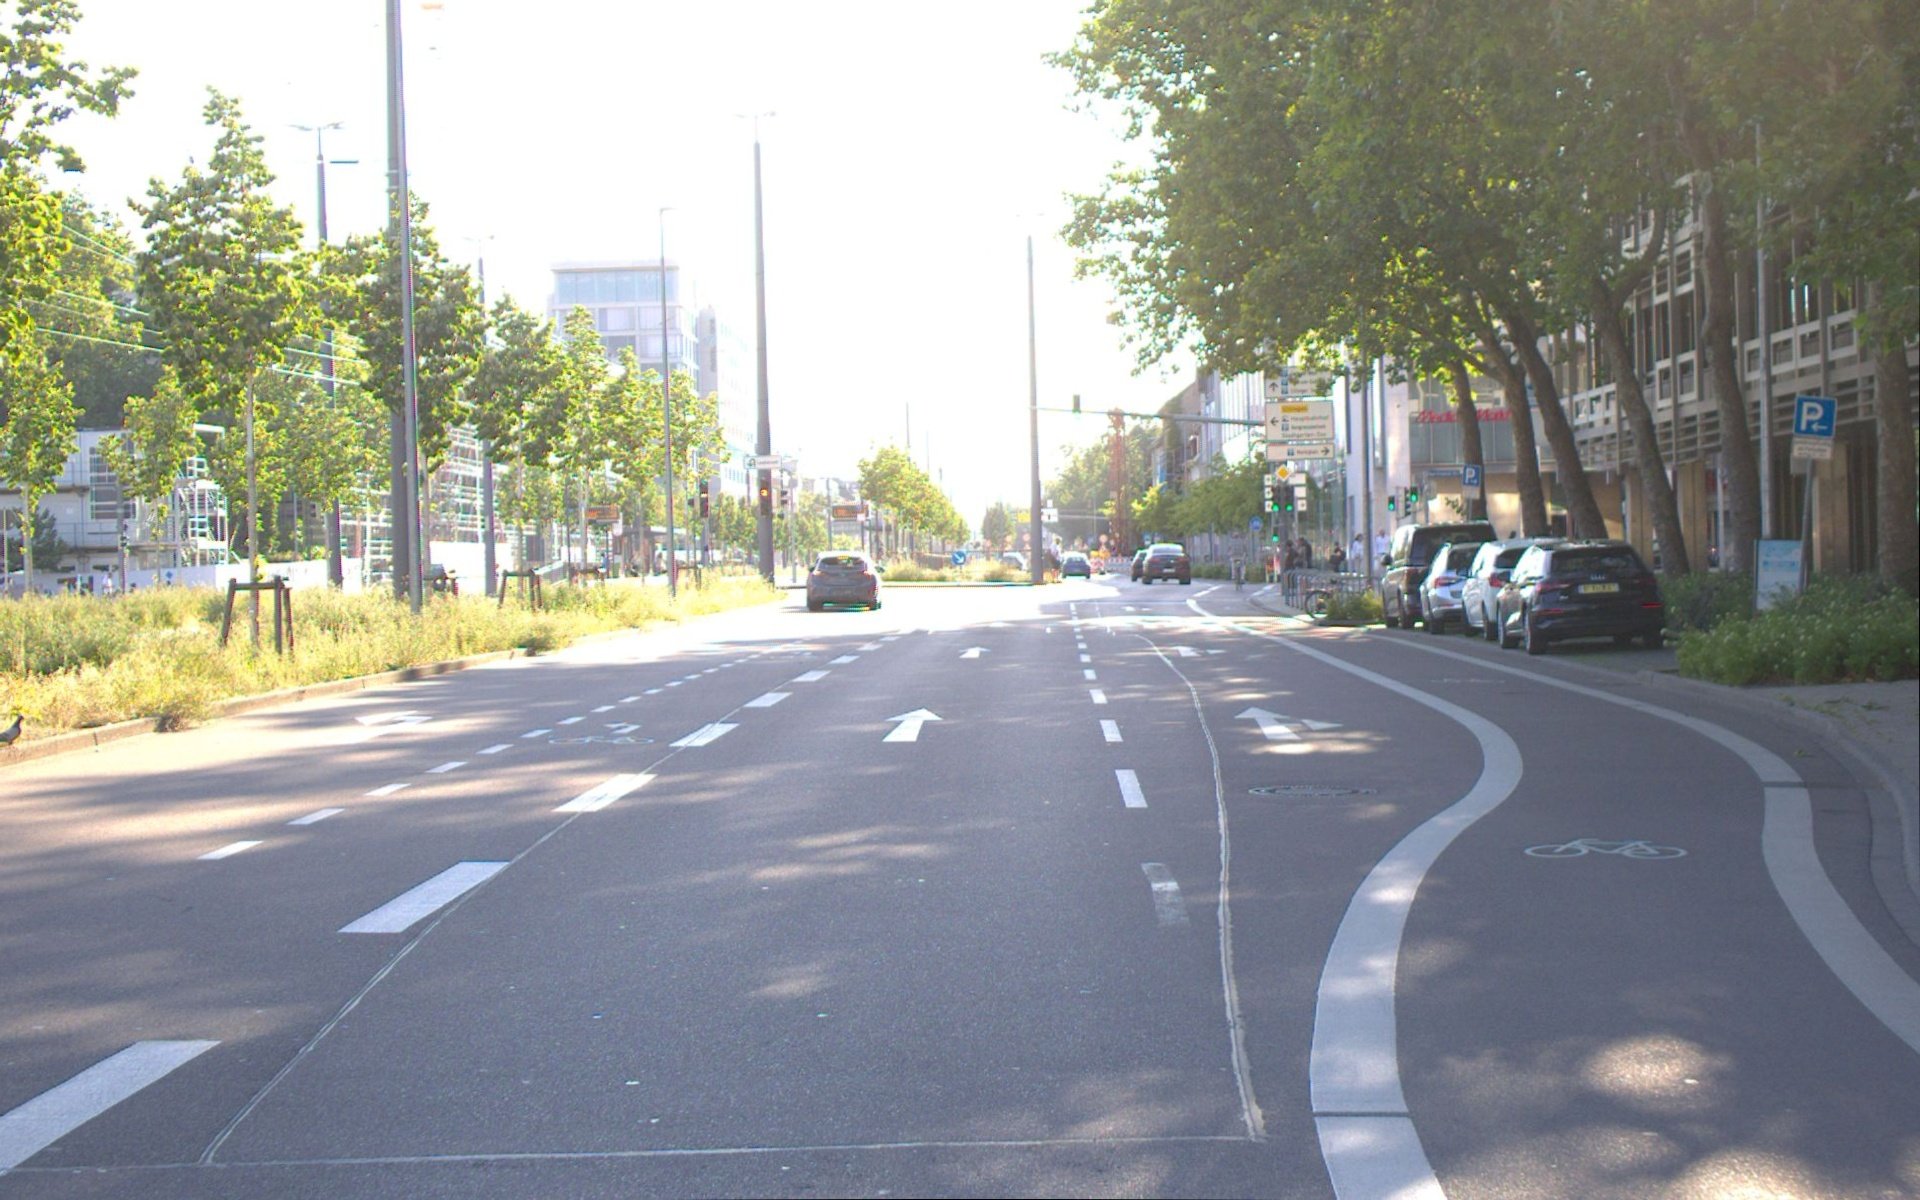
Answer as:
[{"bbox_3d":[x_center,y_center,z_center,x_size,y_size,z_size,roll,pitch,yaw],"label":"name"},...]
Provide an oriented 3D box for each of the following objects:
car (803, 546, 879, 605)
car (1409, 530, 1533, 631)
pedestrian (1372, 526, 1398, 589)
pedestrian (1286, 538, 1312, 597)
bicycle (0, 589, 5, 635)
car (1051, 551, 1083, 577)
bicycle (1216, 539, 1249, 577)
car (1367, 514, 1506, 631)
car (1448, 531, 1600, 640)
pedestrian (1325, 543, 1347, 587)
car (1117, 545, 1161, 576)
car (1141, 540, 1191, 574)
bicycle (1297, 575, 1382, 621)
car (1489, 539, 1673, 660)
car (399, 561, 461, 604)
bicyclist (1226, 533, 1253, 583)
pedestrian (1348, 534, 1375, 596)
[{"bbox_3d":[-2.946,-0.631,85.990,1.776,1.423,4.000,-1,1,0],"label":"car"},{"bbox_3d":[8.492,-0.365,57.425,1.682,1.509,5.058,-4,1,5],"label":"car"},{"bbox_3d":[14.245,-1.438,115.185,0.766,2.053,0.797,-3,1,8],"label":"pedestrian"},{"bbox_3d":[9.963,-0.959,101.164,0.634,1.697,0.570,-3,1,2],"label":"pedestrian"},{"bbox_3d":[-23.589,0.307,82.722,0.583,1.101,1.987,-1,1,2],"label":"bicycle"},{"bbox_3d":[6.497,-2.191,208.991,1.759,1.479,3.850,-2,1,0],"label":"car"},{"bbox_3d":[8.754,-1.359,110.391,0.800,1.200,2.263,-1,1,10],"label":"bicycle"},{"bbox_3d":[8.746,-0.532,63.479,1.829,1.964,5.321,-4,1,2],"label":"car"},{"bbox_3d":[8.455,-0.251,51.754,1.681,1.473,3.874,-4,1,2],"label":"car"},{"bbox_3d":[15.143,-1.400,138.360,0.817,1.728,0.790,-1,1,5],"label":"pedestrian"},{"bbox_3d":[8.931,-1.990,172.183,1.940,1.479,3.926,-2,1,0],"label":"car"},{"bbox_3d":[9.082,-1.906,151.795,1.940,1.423,3.926,-2,1,0],"label":"car"},{"bbox_3d":[7.930,-0.049,71.766,1.692,0.864,0.572,-3,1,10],"label":"bicycle"},{"bbox_3d":[8.145,-0.042,45.411,1.706,1.413,4.276,-4,1,2],"label":"car"},{"bbox_3d":[-23.163,-0.782,150.296,1.993,1.770,4.000,-1,1,1],"label":"car"},{"bbox_3d":[8.985,-1.350,110.365,0.800,1.596,0.785,-1,1,2],"label":"bicyclist"},{"bbox_3d":[13.566,-1.196,116.078,0.766,2.053,0.797,-3,1,8],"label":"pedestrian"}]
